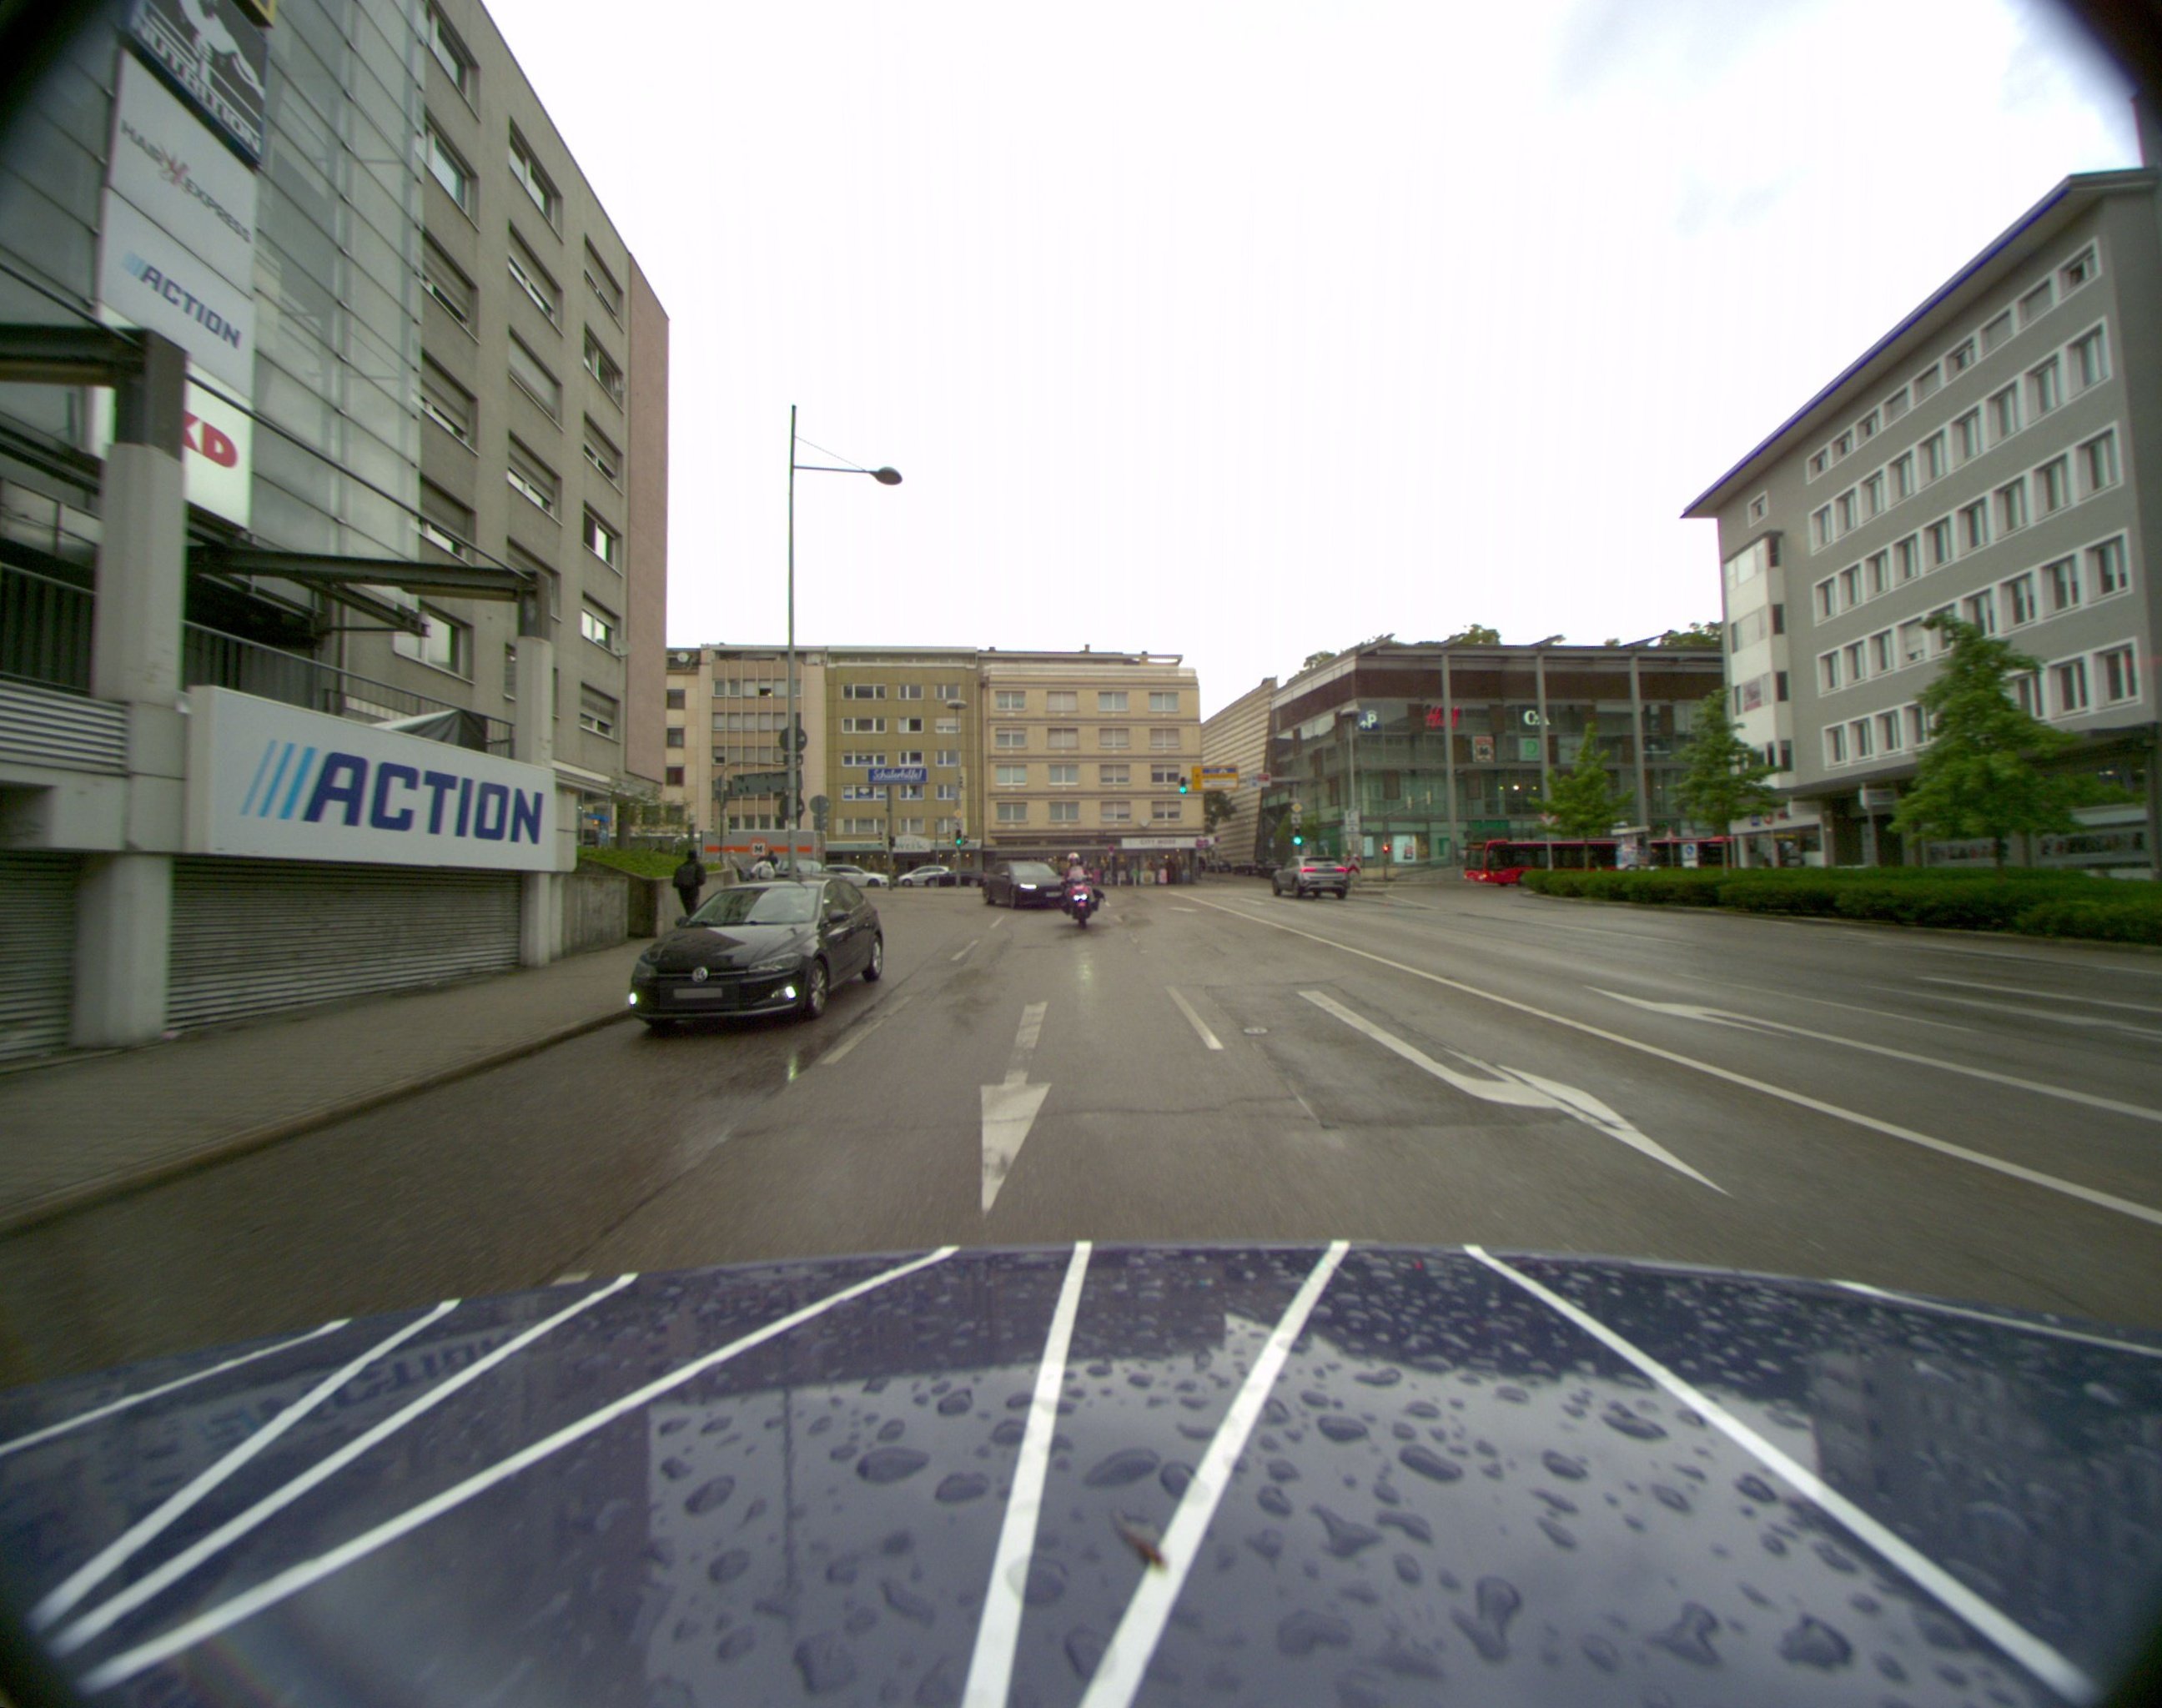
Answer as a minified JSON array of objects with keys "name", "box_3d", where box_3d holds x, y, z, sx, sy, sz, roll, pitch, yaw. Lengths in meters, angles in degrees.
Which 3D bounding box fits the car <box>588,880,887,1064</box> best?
[{"name":"car","box_3d":[-3.564,1.120,8.743,1.742,1.422,3.879,-2,0,-2]}]

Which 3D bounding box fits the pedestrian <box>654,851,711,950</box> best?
[{"name":"pedestrian","box_3d":[-7.613,0.869,14.559,0.601,1.829,1.012,0,-1,-5]}]

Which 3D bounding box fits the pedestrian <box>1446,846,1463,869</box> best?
[{"name":"pedestrian","box_3d":[31.641,0.292,64.349,0.974,1.968,0.883,0,-1,-5]}]

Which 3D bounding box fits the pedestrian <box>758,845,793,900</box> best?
[{"name":"pedestrian","box_3d":[-10.765,0.667,26.797,0.785,1.855,0.618,4,-4,11]}]

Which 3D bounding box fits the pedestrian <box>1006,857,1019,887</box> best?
[{"name":"pedestrian","box_3d":[-3.482,0.910,38.444,0.560,1.479,0.707,1,0,0]}]

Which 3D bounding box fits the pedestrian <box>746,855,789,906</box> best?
[{"name":"pedestrian","box_3d":[-9.904,0.833,23.977,1.061,1.522,1.025,3,-1,-30]}]

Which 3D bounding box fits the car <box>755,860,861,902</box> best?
[{"name":"car","box_3d":[-10.727,1.034,29.746,4.092,1.538,1.877,-1,-1,35]}]

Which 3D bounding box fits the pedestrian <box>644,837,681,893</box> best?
[{"name":"pedestrian","box_3d":[-14.666,0.389,26.661,0.731,1.919,0.821,1,-2,3]}]

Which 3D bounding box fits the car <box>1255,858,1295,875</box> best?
[{"name":"car","box_3d":[17.816,1.120,69.960,1.806,1.537,4.291,0,0,-15]}]

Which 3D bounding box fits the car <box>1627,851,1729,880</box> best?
[{"name":"car","box_3d":[44.077,0.813,56.170,5.907,2.063,2.451,0,0,-6]}]

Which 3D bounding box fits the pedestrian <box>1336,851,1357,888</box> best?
[{"name":"pedestrian","box_3d":[12.693,0.738,36.306,0.618,1.768,0.831,0,0,-11]}]

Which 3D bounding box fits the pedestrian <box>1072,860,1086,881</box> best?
[{"name":"pedestrian","box_3d":[-0.152,1.316,59.161,0.843,1.618,0.776,-1,-1,42]}]

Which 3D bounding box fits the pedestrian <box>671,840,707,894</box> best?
[{"name":"pedestrian","box_3d":[-13.919,0.472,27.008,0.658,1.852,0.839,3,-4,0]}]

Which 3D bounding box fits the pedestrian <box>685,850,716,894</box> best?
[{"name":"pedestrian","box_3d":[-14.433,0.687,28.824,0.594,1.624,0.747,1,-4,36]}]

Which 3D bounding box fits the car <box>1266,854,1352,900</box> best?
[{"name":"car","box_3d":[8.291,0.793,27.987,1.846,1.543,4.093,1,0,-1]}]

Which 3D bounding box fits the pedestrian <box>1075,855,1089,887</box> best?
[{"name":"pedestrian","box_3d":[0.049,0.886,40.149,0.693,1.682,0.759,1,0,0]}]

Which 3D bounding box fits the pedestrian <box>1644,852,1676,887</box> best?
[{"name":"pedestrian","box_3d":[29.547,0.782,38.786,0.800,1.765,1.024,0,0,-11]}]

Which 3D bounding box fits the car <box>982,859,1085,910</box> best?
[{"name":"car","box_3d":[-1.662,0.975,24.684,2.002,1.482,4.727,1,-2,-21]}]

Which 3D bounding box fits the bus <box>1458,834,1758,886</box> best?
[{"name":"bus","box_3d":[34.829,0.411,50.476,18.469,3.300,2.929,0,-1,-3]}]

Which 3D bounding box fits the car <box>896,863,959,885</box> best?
[{"name":"car","box_3d":[-11.492,1.502,57.051,4.399,1.541,1.852,-1,0,-6]}]

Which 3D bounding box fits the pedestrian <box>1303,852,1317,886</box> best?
[{"name":"pedestrian","box_3d":[11.441,0.750,37.976,0.501,1.658,0.571,0,-1,2]}]

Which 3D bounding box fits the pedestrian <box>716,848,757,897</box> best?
[{"name":"pedestrian","box_3d":[-12.212,0.669,26.969,0.837,1.711,1.040,0,-3,12]}]

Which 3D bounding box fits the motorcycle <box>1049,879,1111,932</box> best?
[{"name":"motorcycle","box_3d":[-0.075,1.146,17.421,1.313,1.128,2.185,0,-1,-3]}]

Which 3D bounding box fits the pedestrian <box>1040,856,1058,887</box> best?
[{"name":"pedestrian","box_3d":[-1.595,0.874,38.043,0.854,1.559,0.715,1,0,0]}]

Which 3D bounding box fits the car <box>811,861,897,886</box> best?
[{"name":"car","box_3d":[-13.409,1.163,45.142,4.630,1.407,1.798,0,-2,-6]}]

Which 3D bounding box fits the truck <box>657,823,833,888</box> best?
[{"name":"truck","box_3d":[-22.942,0.140,52.310,10.766,4.307,2.855,0,-1,-3]}]

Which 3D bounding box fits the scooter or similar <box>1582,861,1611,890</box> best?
[{"name":"scooter or similar","box_3d":[21.412,0.917,31.599,0.543,1.179,1.386,-1,-2,15]}]

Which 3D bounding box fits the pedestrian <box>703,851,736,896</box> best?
[{"name":"pedestrian","box_3d":[-13.861,0.760,29.149,0.838,1.626,0.541,4,-5,-5]}]

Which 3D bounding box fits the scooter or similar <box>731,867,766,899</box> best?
[{"name":"scooter or similar","box_3d":[-12.057,1.059,27.563,0.654,1.102,0.975,0,-4,14]}]

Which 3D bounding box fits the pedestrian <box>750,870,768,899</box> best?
[{"name":"pedestrian","box_3d":[-11.559,1.092,27.249,0.471,0.993,0.262,0,-6,18]}]

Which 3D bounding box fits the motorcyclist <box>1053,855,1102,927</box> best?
[{"name":"motorcyclist","box_3d":[-0.094,0.836,17.422,1.093,1.595,0.953,0,-1,-2]}]

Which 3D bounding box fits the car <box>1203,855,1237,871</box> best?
[{"name":"car","box_3d":[15.000,0.938,82.451,1.899,1.537,4.375,-3,1,-15]}]

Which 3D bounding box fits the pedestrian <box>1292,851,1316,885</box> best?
[{"name":"pedestrian","box_3d":[11.731,0.746,39.946,0.853,1.777,1.012,0,0,-11]}]

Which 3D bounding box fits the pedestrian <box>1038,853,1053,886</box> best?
[{"name":"pedestrian","box_3d":[-1.899,0.831,40.718,0.706,1.701,0.786,1,0,0]}]

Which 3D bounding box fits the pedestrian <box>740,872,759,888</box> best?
[{"name":"pedestrian","box_3d":[-12.025,0.936,27.577,0.457,0.567,0.373,0,-4,14]}]

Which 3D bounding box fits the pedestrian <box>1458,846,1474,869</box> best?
[{"name":"pedestrian","box_3d":[32.602,0.296,64.408,0.849,1.968,0.877,0,-1,-5]}]

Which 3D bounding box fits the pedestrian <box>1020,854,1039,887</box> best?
[{"name":"pedestrian","box_3d":[-2.633,0.826,39.042,0.914,1.662,0.981,0,0,1]}]

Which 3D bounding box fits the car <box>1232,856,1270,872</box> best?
[{"name":"car","box_3d":[16.854,0.969,75.447,1.899,1.537,4.375,-3,1,-15]}]

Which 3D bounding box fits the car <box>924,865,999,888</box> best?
[{"name":"car","box_3d":[-8.050,1.510,51.285,4.628,1.417,2.001,-1,-1,7]}]
